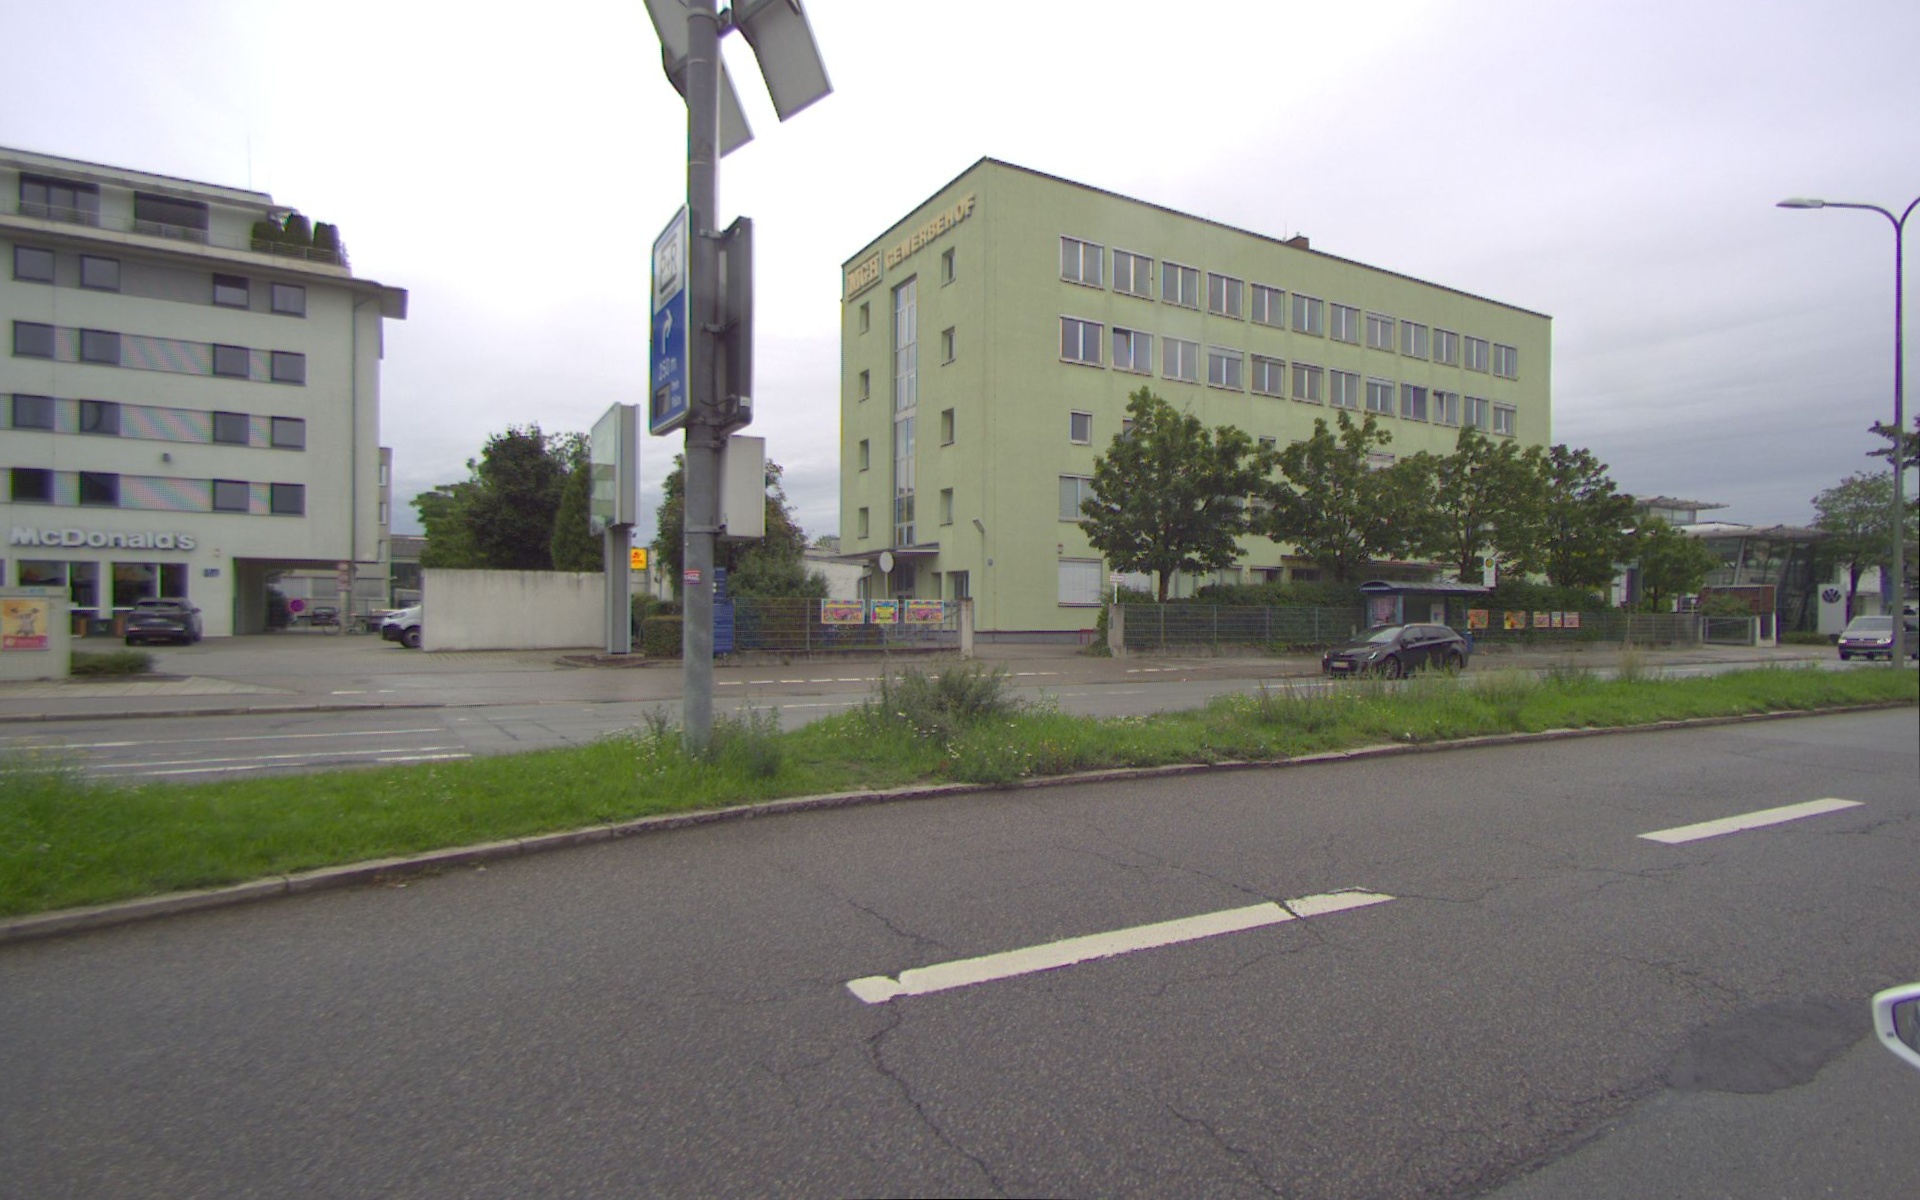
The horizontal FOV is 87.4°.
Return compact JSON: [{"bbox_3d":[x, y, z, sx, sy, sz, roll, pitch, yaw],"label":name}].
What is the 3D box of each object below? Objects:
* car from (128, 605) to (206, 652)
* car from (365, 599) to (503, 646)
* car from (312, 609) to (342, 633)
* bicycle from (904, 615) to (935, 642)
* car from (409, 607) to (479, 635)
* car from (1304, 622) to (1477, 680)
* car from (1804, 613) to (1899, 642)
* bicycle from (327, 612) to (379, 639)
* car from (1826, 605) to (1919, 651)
[{"bbox_3d":[-28.480,0.997,36.176,1.687,1.608,3.966,1,-1,-31],"label":"car"},{"bbox_3d":[-17.448,0.758,33.358,3.954,1.457,1.816,1,-2,-31],"label":"car"},{"bbox_3d":[-52.477,1.762,83.368,1.977,1.839,3.968,1,-2,-31],"label":"car"},{"bbox_3d":[-1.744,1.245,43.337,0.444,1.131,2.103,0,-2,-29],"label":"bicycle"},{"bbox_3d":[-33.167,1.339,64.622,3.948,1.732,1.645,1,-2,-27],"label":"car"},{"bbox_3d":[11.543,1.324,26.889,4.602,1.420,1.983,1,-2,-32],"label":"car"},{"bbox_3d":[59.865,1.860,67.573,4.573,1.866,1.794,-2,-2,37],"label":"car"},{"bbox_3d":[-25.953,1.083,42.970,1.860,1.131,0.444,1,-2,-40],"label":"bicycle"},{"bbox_3d":[40.862,1.260,44.942,4.276,1.986,1.983,1,-2,-32],"label":"car"}]
